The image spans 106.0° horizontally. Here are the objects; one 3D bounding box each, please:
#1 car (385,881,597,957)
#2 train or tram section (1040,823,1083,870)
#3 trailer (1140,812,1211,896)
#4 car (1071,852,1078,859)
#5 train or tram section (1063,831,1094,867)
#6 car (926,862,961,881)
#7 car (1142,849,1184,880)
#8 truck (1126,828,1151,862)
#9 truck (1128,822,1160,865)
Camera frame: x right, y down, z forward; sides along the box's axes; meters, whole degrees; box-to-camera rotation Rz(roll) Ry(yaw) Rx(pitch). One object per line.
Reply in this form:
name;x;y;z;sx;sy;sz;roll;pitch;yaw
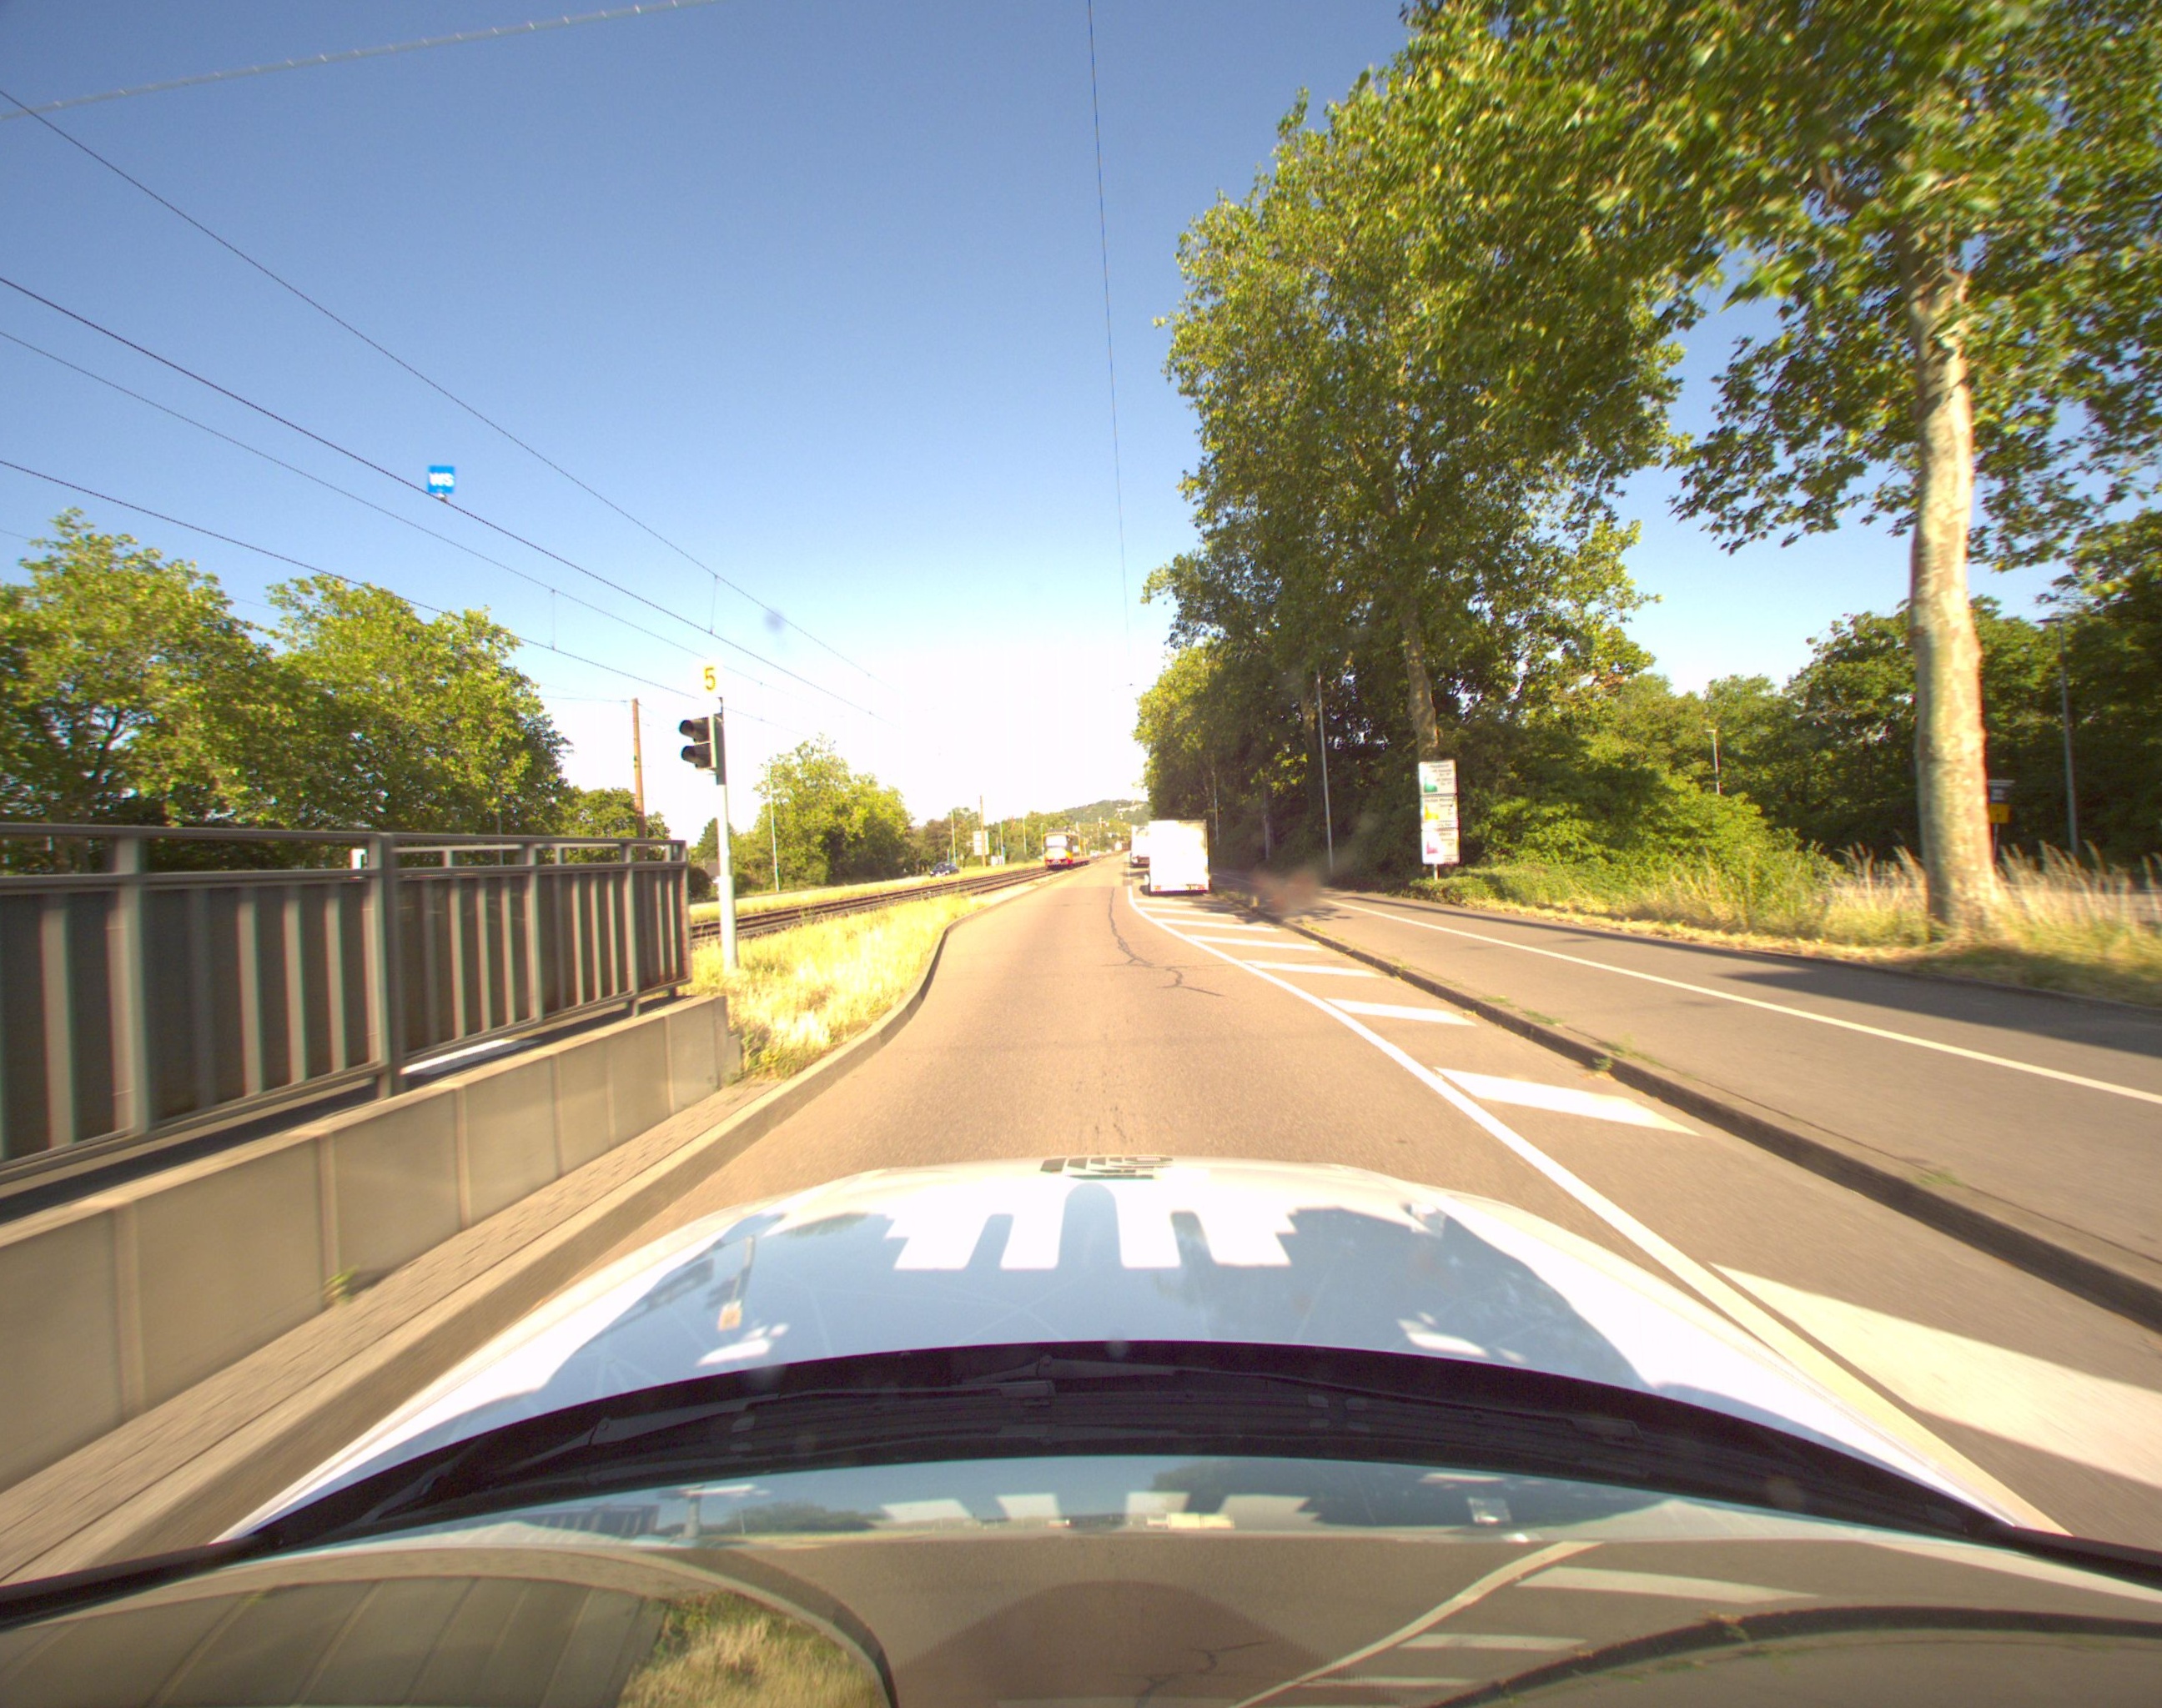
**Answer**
car;-15.192;1.598;21.370;1.985;1.561;4.548;-2;0;4
train or tram section;-1.701;-0.707;79.382;2.710;4.090;13.629;-4;0;4
trailer;3.442;-0.016;29.909;2.240;2.694;5.957;-2;0;6
car;-1.742;0.475;226.851;1.718;2.014;3.999;-2;-1;0
train or tram section;-0.205;-0.647;102.107;2.708;4.088;12.825;-4;0;4
car;-11.551;1.464;68.722;1.765;1.425;4.494;-3;0;4
car;4.063;0.493;40.792;1.802;1.457;4.168;-1;0;2
truck;6.830;-1.017;97.124;2.706;3.783;9.769;-1;0;3
truck;5.927;-0.985;77.921;2.730;3.783;10.097;-1;0;3
